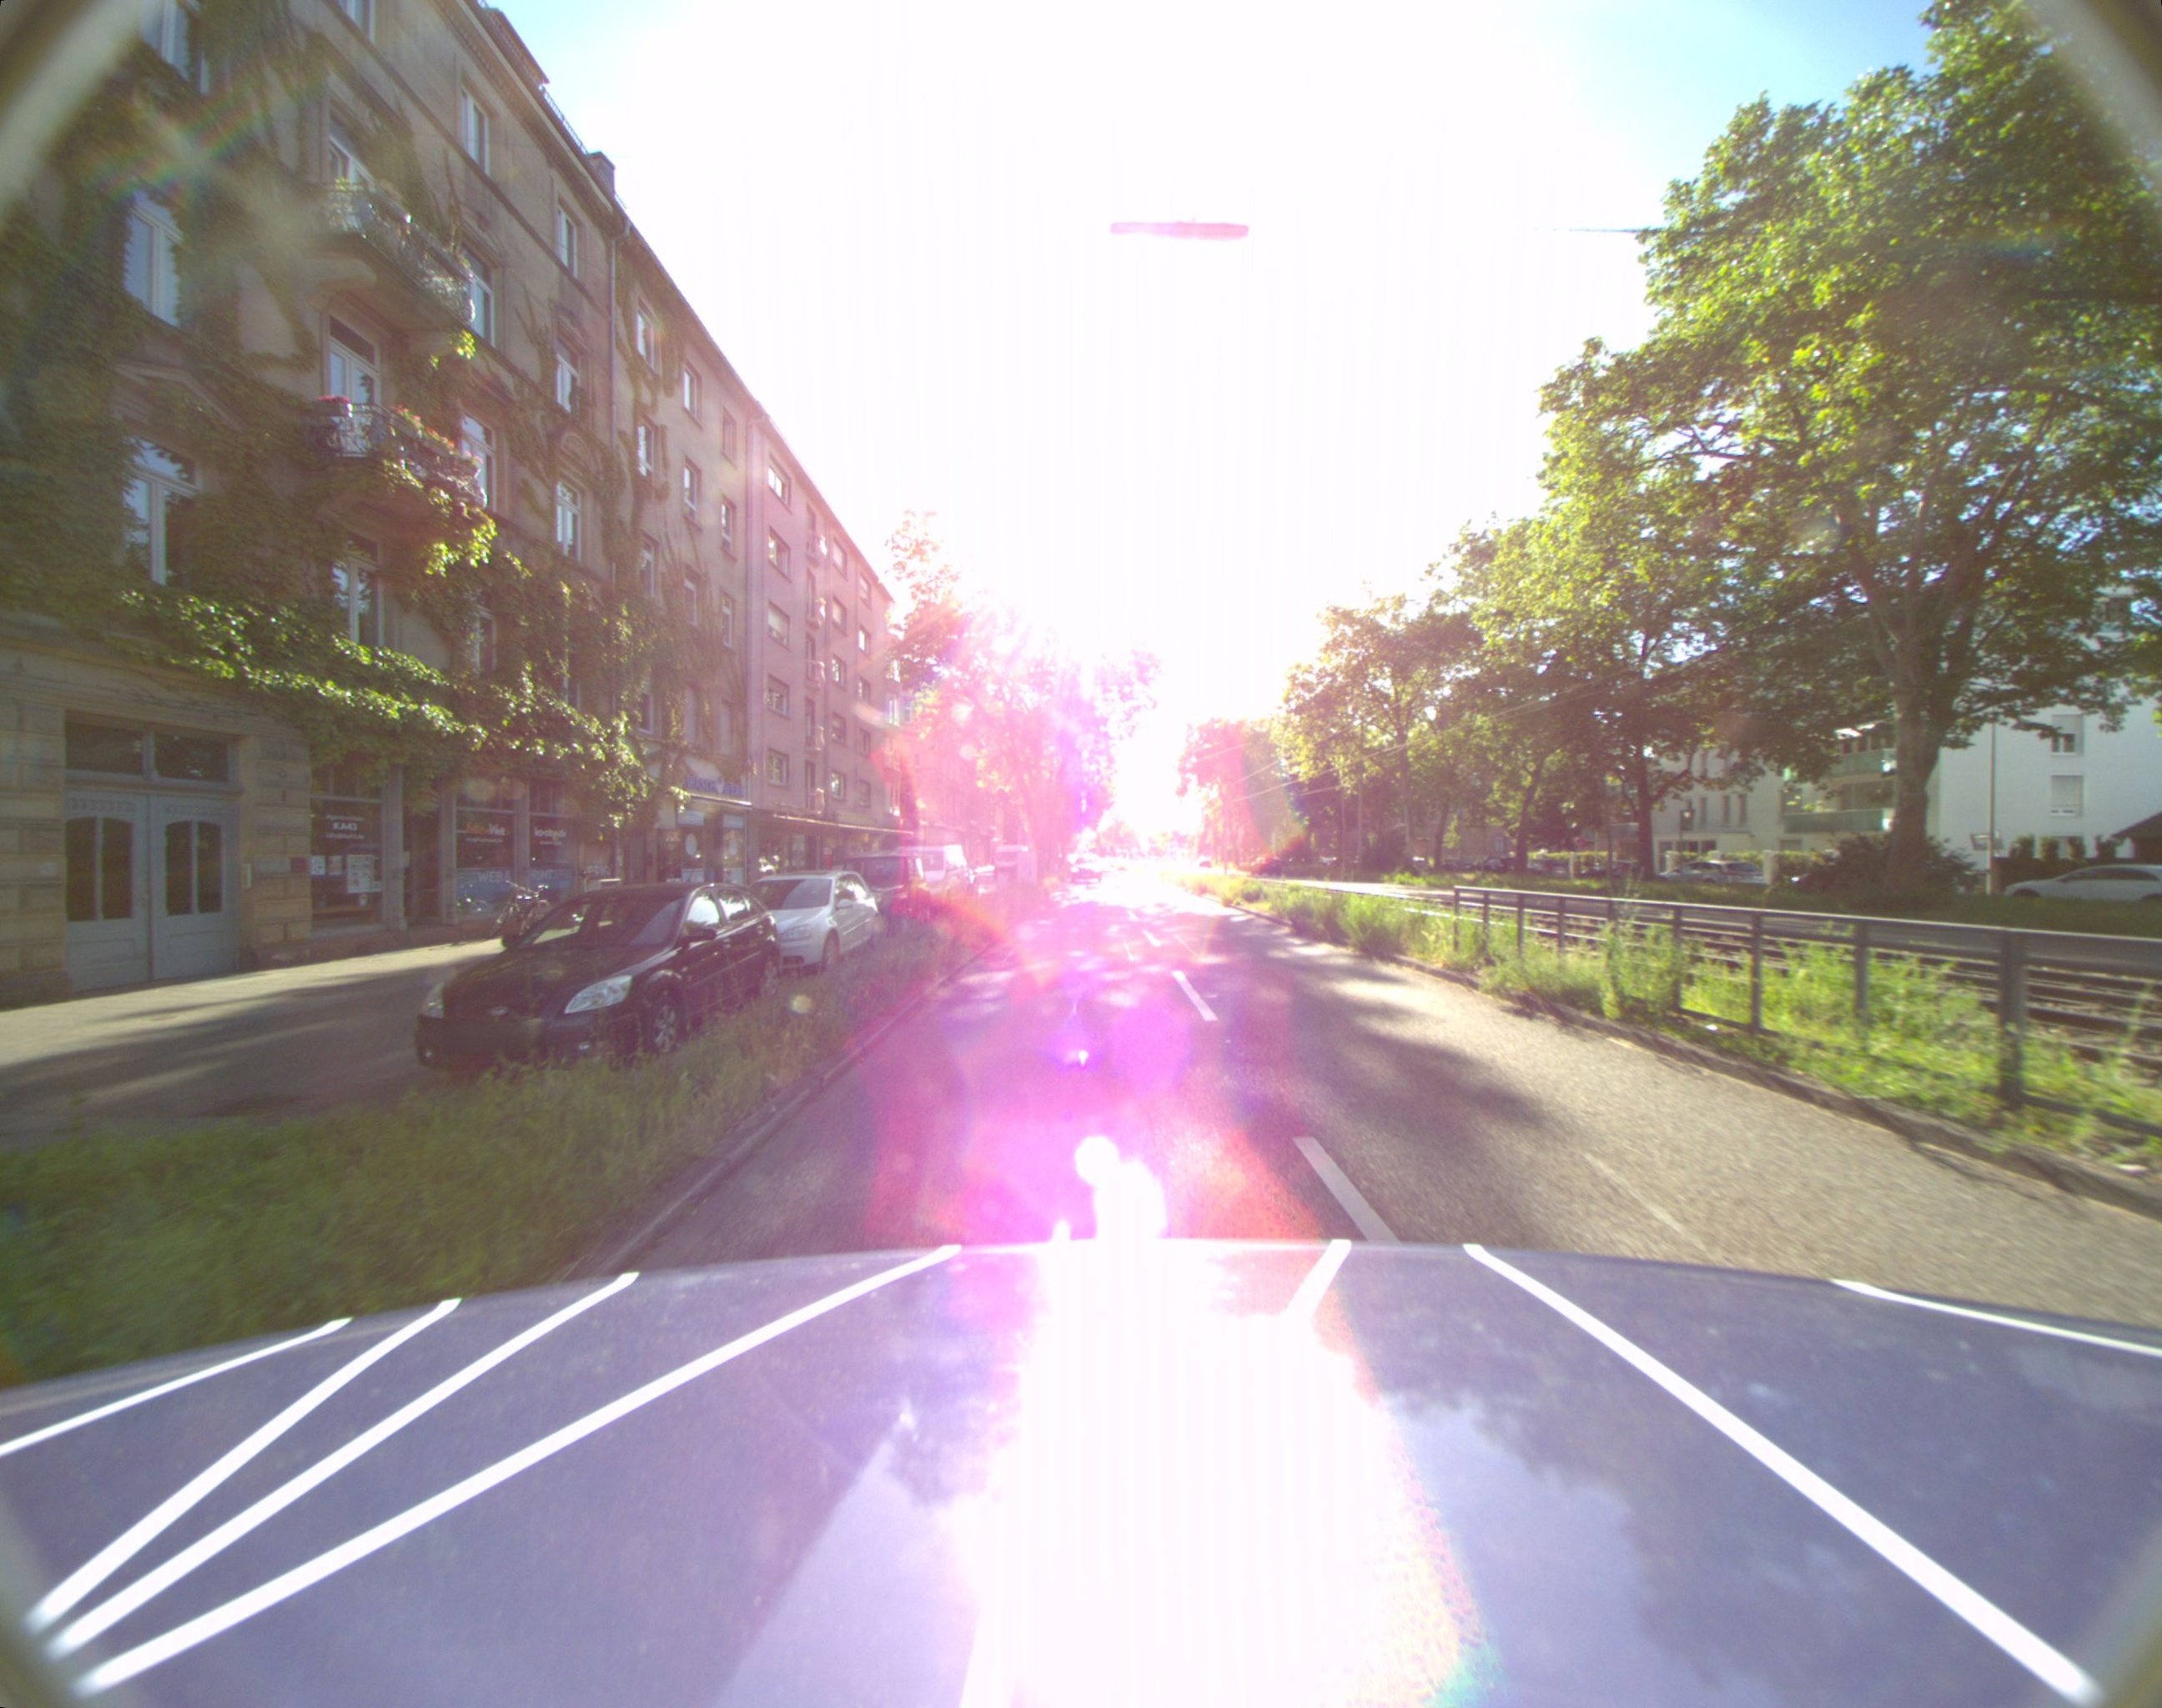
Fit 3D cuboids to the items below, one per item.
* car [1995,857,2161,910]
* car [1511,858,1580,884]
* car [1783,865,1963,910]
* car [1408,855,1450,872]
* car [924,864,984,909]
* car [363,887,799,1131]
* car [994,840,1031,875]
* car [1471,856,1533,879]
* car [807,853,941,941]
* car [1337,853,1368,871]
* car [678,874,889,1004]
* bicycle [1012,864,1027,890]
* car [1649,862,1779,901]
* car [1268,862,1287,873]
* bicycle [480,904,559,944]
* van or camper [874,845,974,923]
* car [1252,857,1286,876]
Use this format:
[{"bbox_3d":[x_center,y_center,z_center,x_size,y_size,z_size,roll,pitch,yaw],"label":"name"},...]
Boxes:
[{"bbox_3d":[28.083,0.783,20.437,1.644,1.316,4.461,2,0,1],"label":"car"},{"bbox_3d":[28.154,0.993,46.248,1.801,1.464,4.000,0,0,1],"label":"car"},{"bbox_3d":[28.207,1.139,27.307,1.998,1.444,4.319,0,0,1],"label":"car"},{"bbox_3d":[31.564,0.870,69.020,1.998,1.477,4.000,0,0,1],"label":"car"},{"bbox_3d":[-4.526,1.113,27.498,1.594,1.470,3.828,0,0,-1],"label":"car"},{"bbox_3d":[-4.338,1.198,7.479,1.645,1.508,3.999,-3,0,-1],"label":"car"},{"bbox_3d":[-4.969,0.234,55.751,2.079,2.420,5.856,-1,0,1],"label":"car"},{"bbox_3d":[28.249,0.900,51.127,1.998,1.477,4.000,0,0,1],"label":"car"},{"bbox_3d":[-4.494,0.859,17.157,1.869,1.753,4.000,0,0,1],"label":"car"},{"bbox_3d":[28.885,0.874,80.905,1.998,1.838,4.000,0,0,1],"label":"car"},{"bbox_3d":[-4.380,1.154,11.908,1.743,1.508,3.999,-3,0,-1],"label":"car"},{"bbox_3d":[-3.017,1.108,37.159,0.466,1.207,1.751,0,0,4],"label":"bicycle"},{"bbox_3d":[28.238,1.183,34.140,1.998,1.582,4.655,0,0,1],"label":"car"},{"bbox_3d":[27.482,1.905,106.531,1.771,1.477,3.688,0,0,1],"label":"car"},{"bbox_3d":[-11.490,1.418,15.601,0.469,0.701,1.513,0,0,0],"label":"bicycle"},{"bbox_3d":[-4.412,0.782,22.189,1.889,2.002,5.094,0,0,0],"label":"van or camper"},{"bbox_3d":[17.012,1.097,68.900,1.862,1.637,4.460,0,0,-1],"label":"car"}]
